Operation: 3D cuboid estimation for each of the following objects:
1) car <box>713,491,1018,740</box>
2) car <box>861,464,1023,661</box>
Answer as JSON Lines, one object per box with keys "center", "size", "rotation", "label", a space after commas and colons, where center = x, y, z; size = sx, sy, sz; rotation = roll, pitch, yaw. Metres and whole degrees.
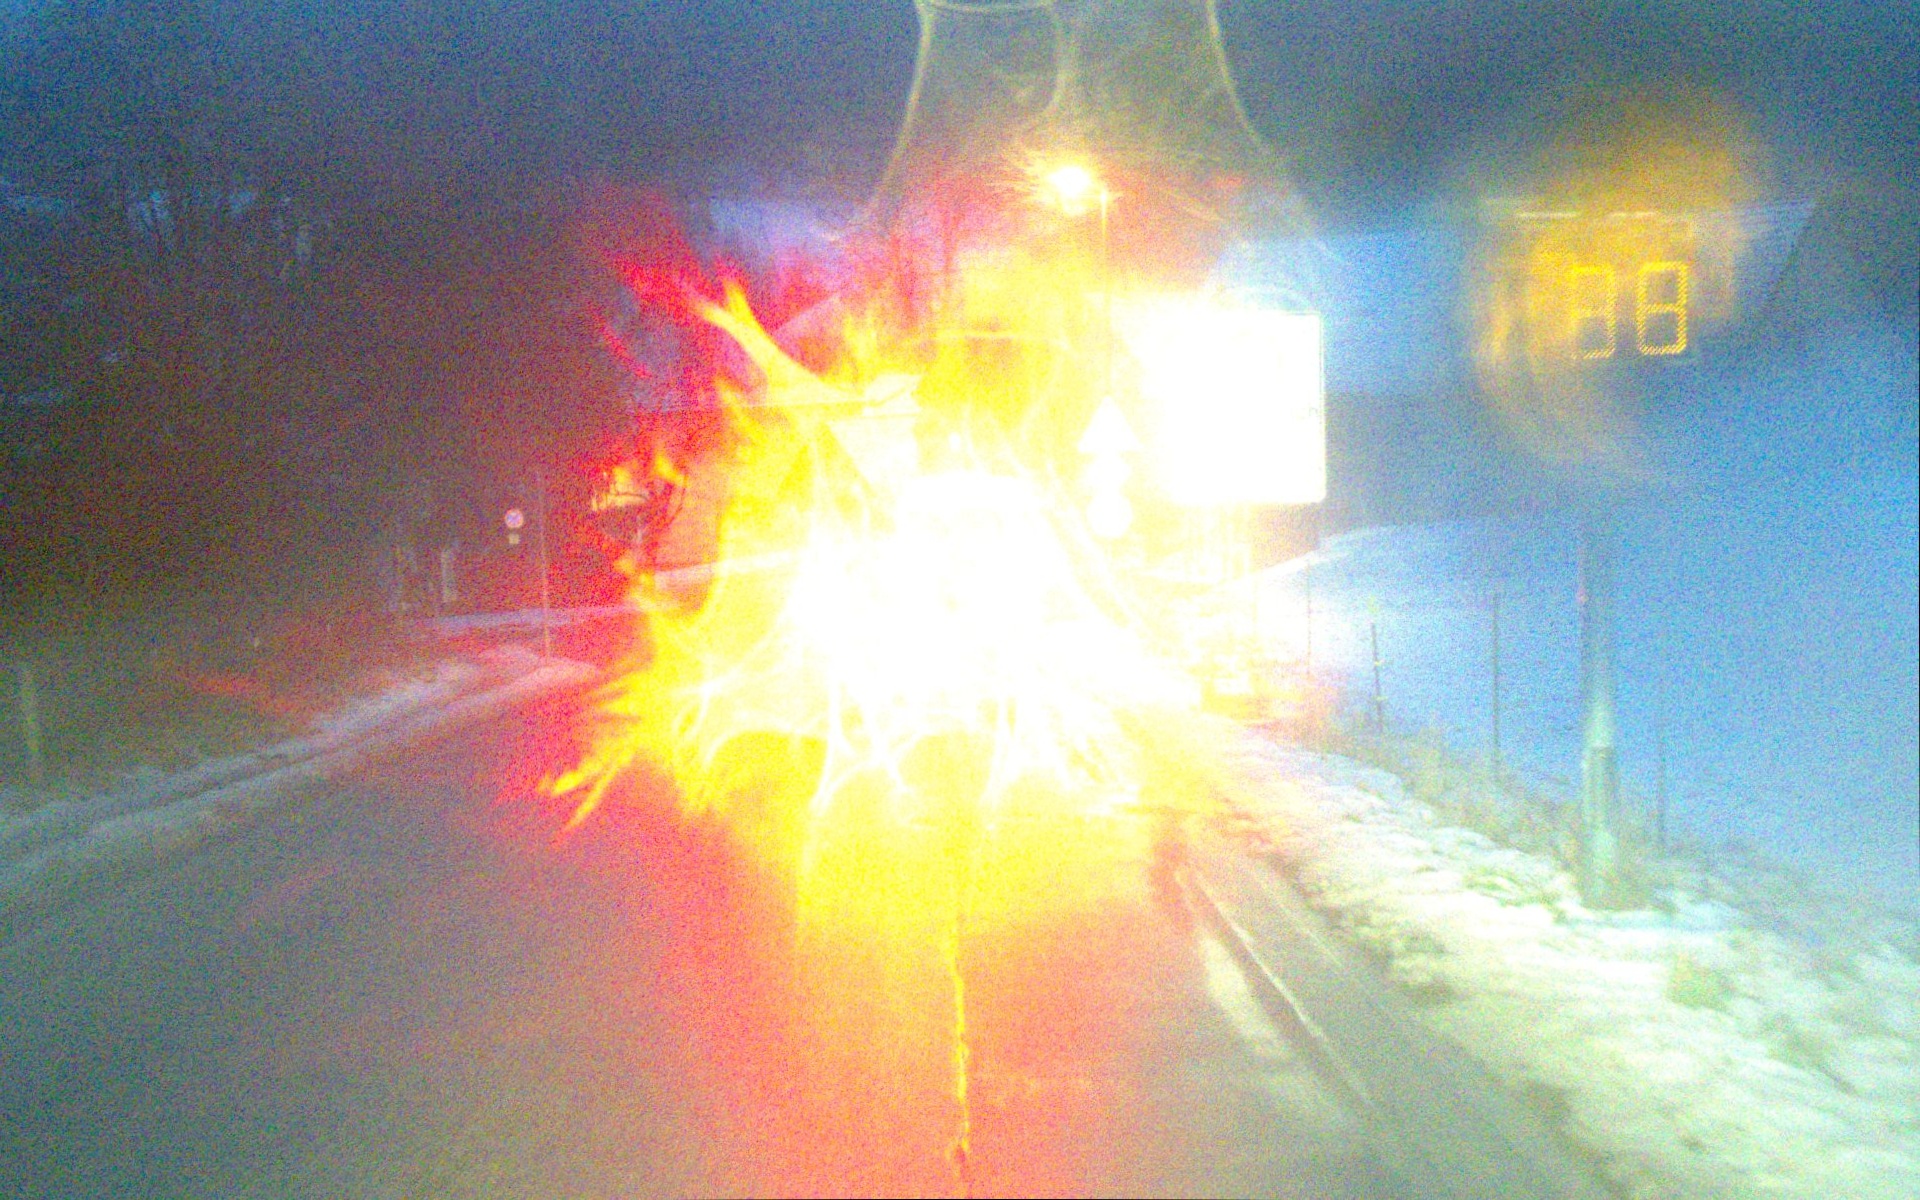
{"center": [-0.804, 0.062, 28.696], "size": [2.274, 1.834, 5.007], "rotation": [-2, 1, -2], "label": "car"}
{"center": [-0.251, -0.595, 57.457], "size": [2.435, 3.008, 5.325], "rotation": [-3, 0, 1], "label": "car"}
